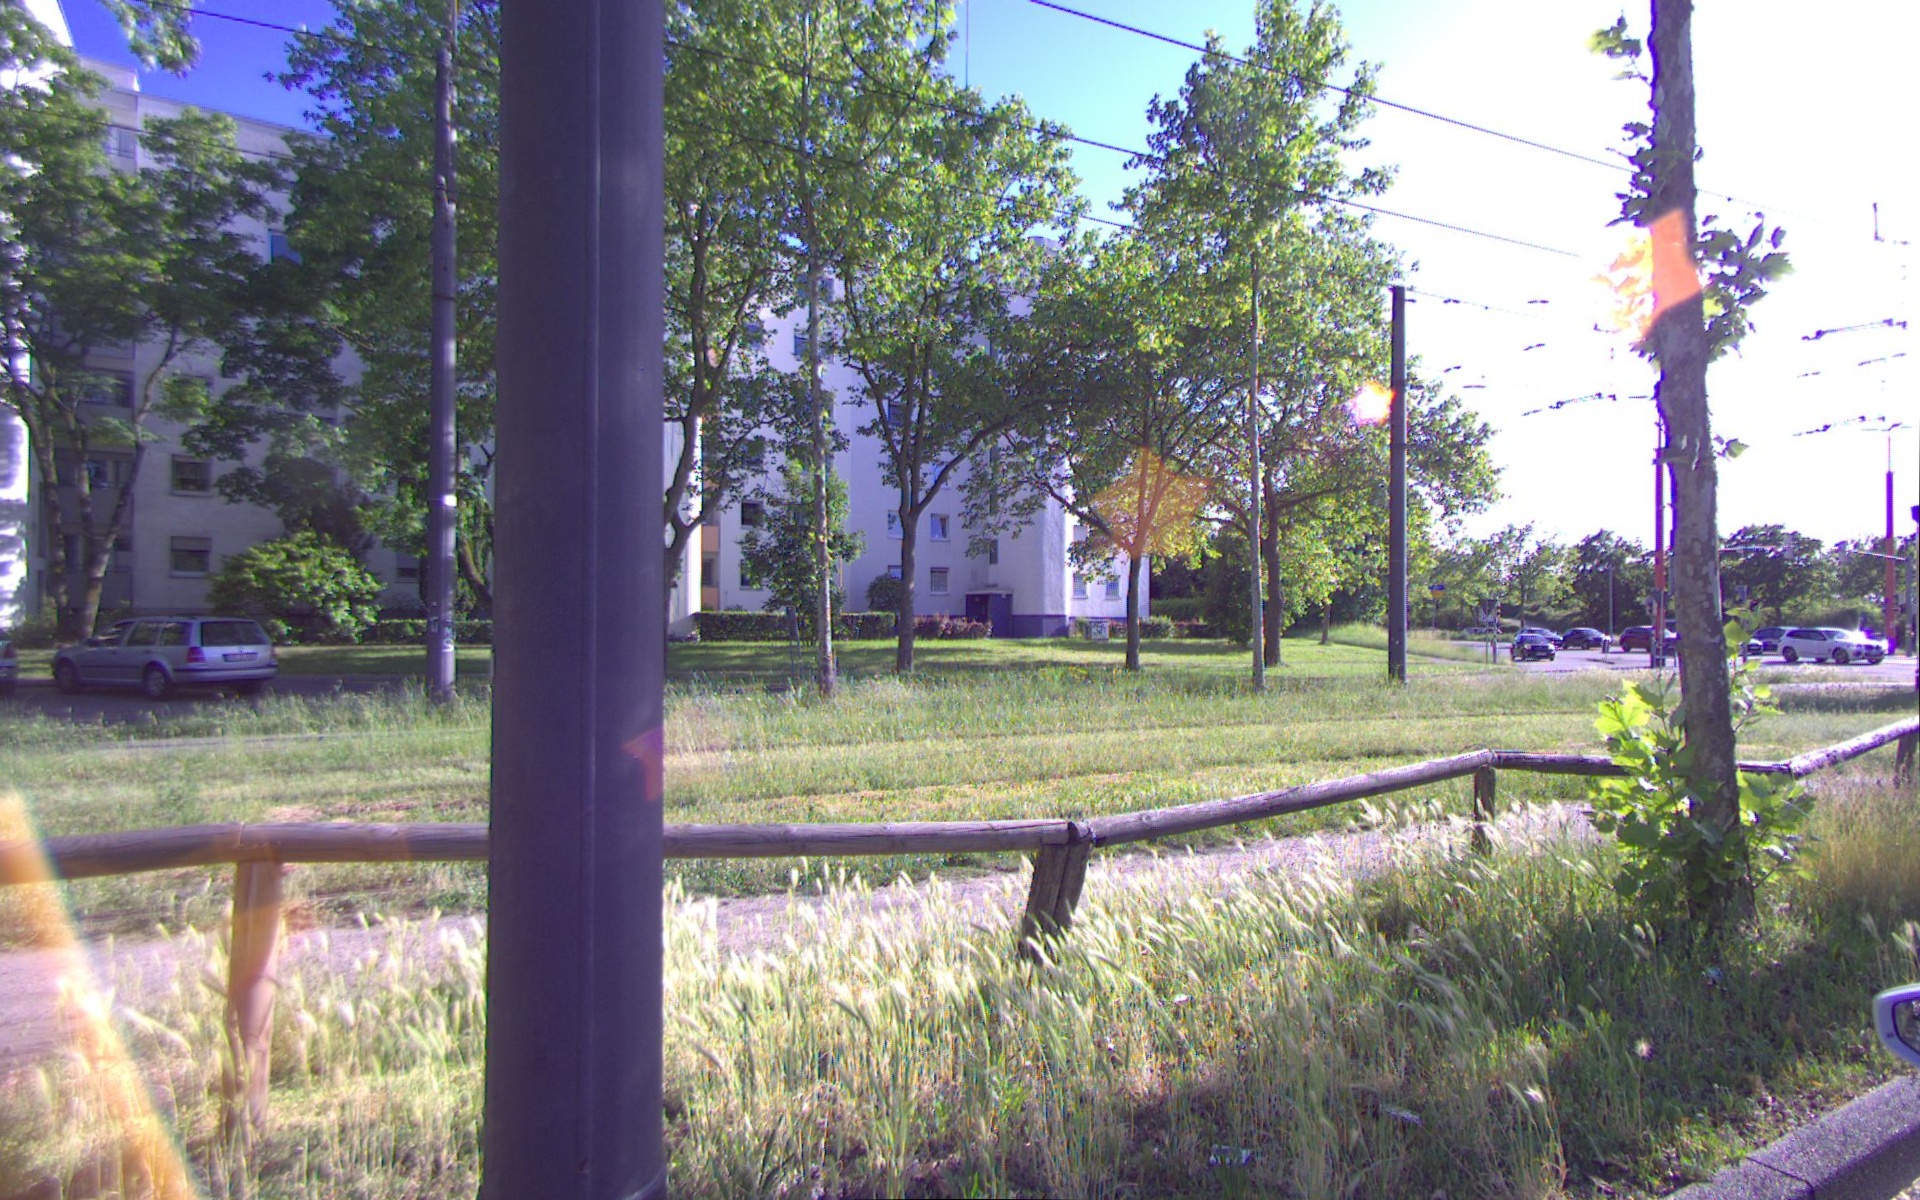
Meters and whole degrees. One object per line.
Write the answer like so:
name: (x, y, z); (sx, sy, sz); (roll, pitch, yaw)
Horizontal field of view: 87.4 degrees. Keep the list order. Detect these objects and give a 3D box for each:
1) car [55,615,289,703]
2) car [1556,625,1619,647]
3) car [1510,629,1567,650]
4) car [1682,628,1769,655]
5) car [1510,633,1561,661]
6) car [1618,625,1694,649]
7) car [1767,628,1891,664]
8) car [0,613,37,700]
car: (-14.471, 1.026, 18.480); (3.609, 1.452, 1.732); (0, -1, 20)
car: (45.007, 2.563, 72.139); (1.877, 1.483, 4.055); (1, -1, -3)
car: (44.828, 3.042, 77.944); (1.877, 1.483, 4.239); (1, -1, -3)
car: (45.663, 2.463, 60.039); (1.877, 1.483, 4.222); (1, -1, -2)
car: (32.461, 2.630, 56.770); (1.791, 1.439, 3.759); (0, -1, 19)
car: (45.532, 2.404, 65.804); (1.877, 1.483, 4.373); (1, -1, -2)
car: (42.692, 2.205, 49.499); (1.877, 1.619, 4.795); (1, -1, -2)
car: (-17.915, 0.927, 17.136); (3.609, 1.452, 1.703); (0, -1, 20)
